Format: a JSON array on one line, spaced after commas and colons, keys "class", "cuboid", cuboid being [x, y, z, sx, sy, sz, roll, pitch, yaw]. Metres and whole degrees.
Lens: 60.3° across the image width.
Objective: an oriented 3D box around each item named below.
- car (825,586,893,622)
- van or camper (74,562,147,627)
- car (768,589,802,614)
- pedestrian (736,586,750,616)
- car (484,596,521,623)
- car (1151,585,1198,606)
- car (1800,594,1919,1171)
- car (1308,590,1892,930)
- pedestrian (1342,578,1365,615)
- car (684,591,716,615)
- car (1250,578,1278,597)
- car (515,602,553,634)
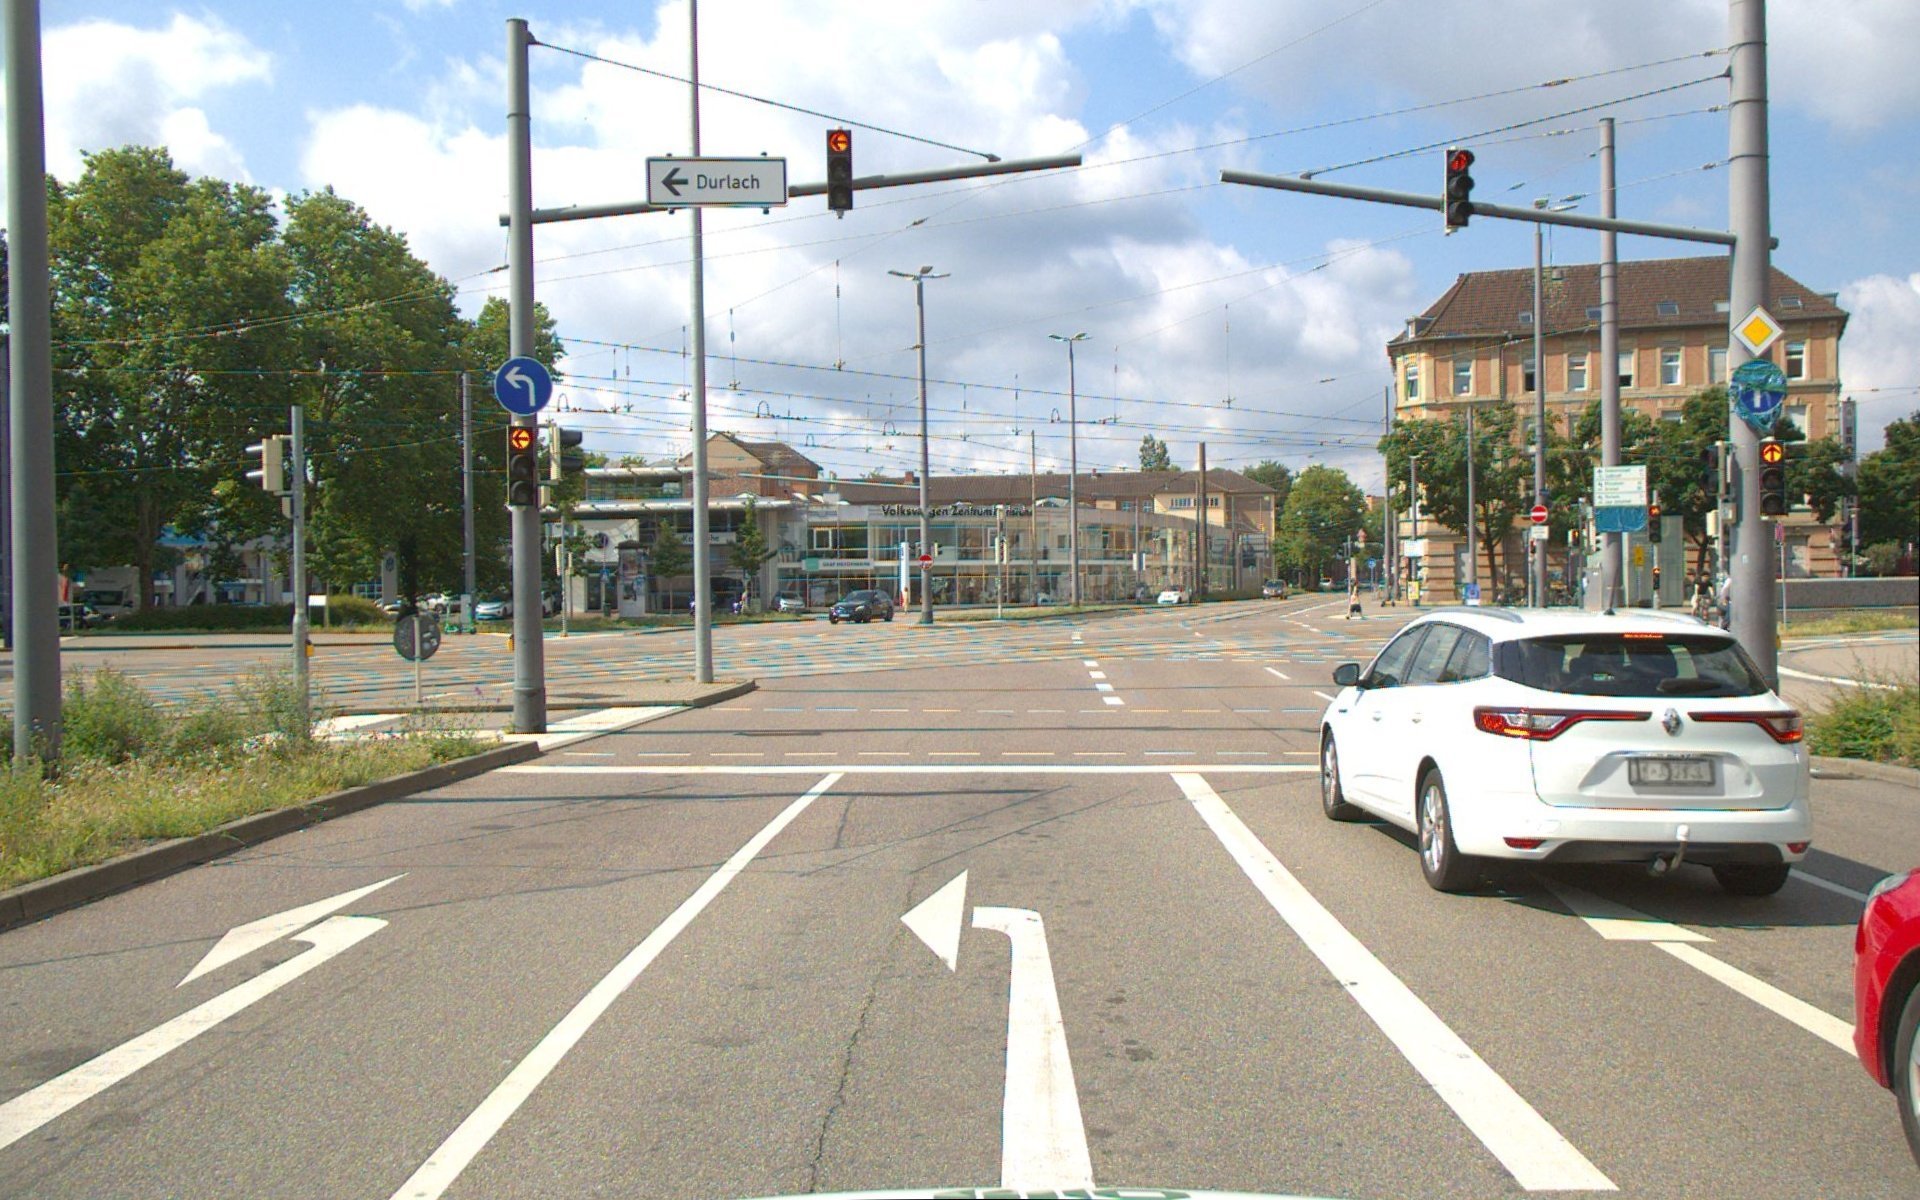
[{"class": "car", "cuboid": [-4.524, 0.176, 74.670, 1.951, 1.557, 4.003, -1, 0, 13]}, {"class": "van or camper", "cuboid": [-40.339, -0.255, 78.691, 2.546, 2.959, 6.056, -1, 0, -23]}, {"class": "car", "cuboid": [-11.896, 0.081, 112.280, 1.958, 1.624, 3.988, -1, 0, -12]}, {"class": "pedestrian", "cuboid": [-14.276, 0.053, 108.718, 0.866, 1.982, 0.886, -1, 0, -11]}, {"class": "car", "cuboid": [-30.998, 0.625, 112.043, 1.763, 1.800, 3.994, -1, 0, -6]}, {"class": "car", "cuboid": [15.904, -0.356, 122.453, 1.957, 1.467, 3.991, -1, 0, 31]}, {"class": "car", "cuboid": [3.351, 0.729, 2.776, 1.779, 1.464, 4.066, 0, 0, -1]}, {"class": "car", "cuboid": [3.367, 0.718, 9.697, 1.810, 1.498, 4.336, -1, 0, 1]}, {"class": "pedestrian", "cuboid": [16.685, -0.137, 70.118, 0.669, 1.562, 0.664, -1, 0, -40]}, {"class": "car", "cuboid": [-17.441, 0.185, 110.993, 1.956, 1.579, 4.072, -1, 0, -7]}, {"class": "car", "cuboid": [26.652, -1.114, 144.917, 1.951, 1.601, 4.002, -1, 0, 17]}, {"class": "car", "cuboid": [-28.812, 1.213, 111.975, 1.955, 2.049, 3.994, -1, 0, -6]}]
